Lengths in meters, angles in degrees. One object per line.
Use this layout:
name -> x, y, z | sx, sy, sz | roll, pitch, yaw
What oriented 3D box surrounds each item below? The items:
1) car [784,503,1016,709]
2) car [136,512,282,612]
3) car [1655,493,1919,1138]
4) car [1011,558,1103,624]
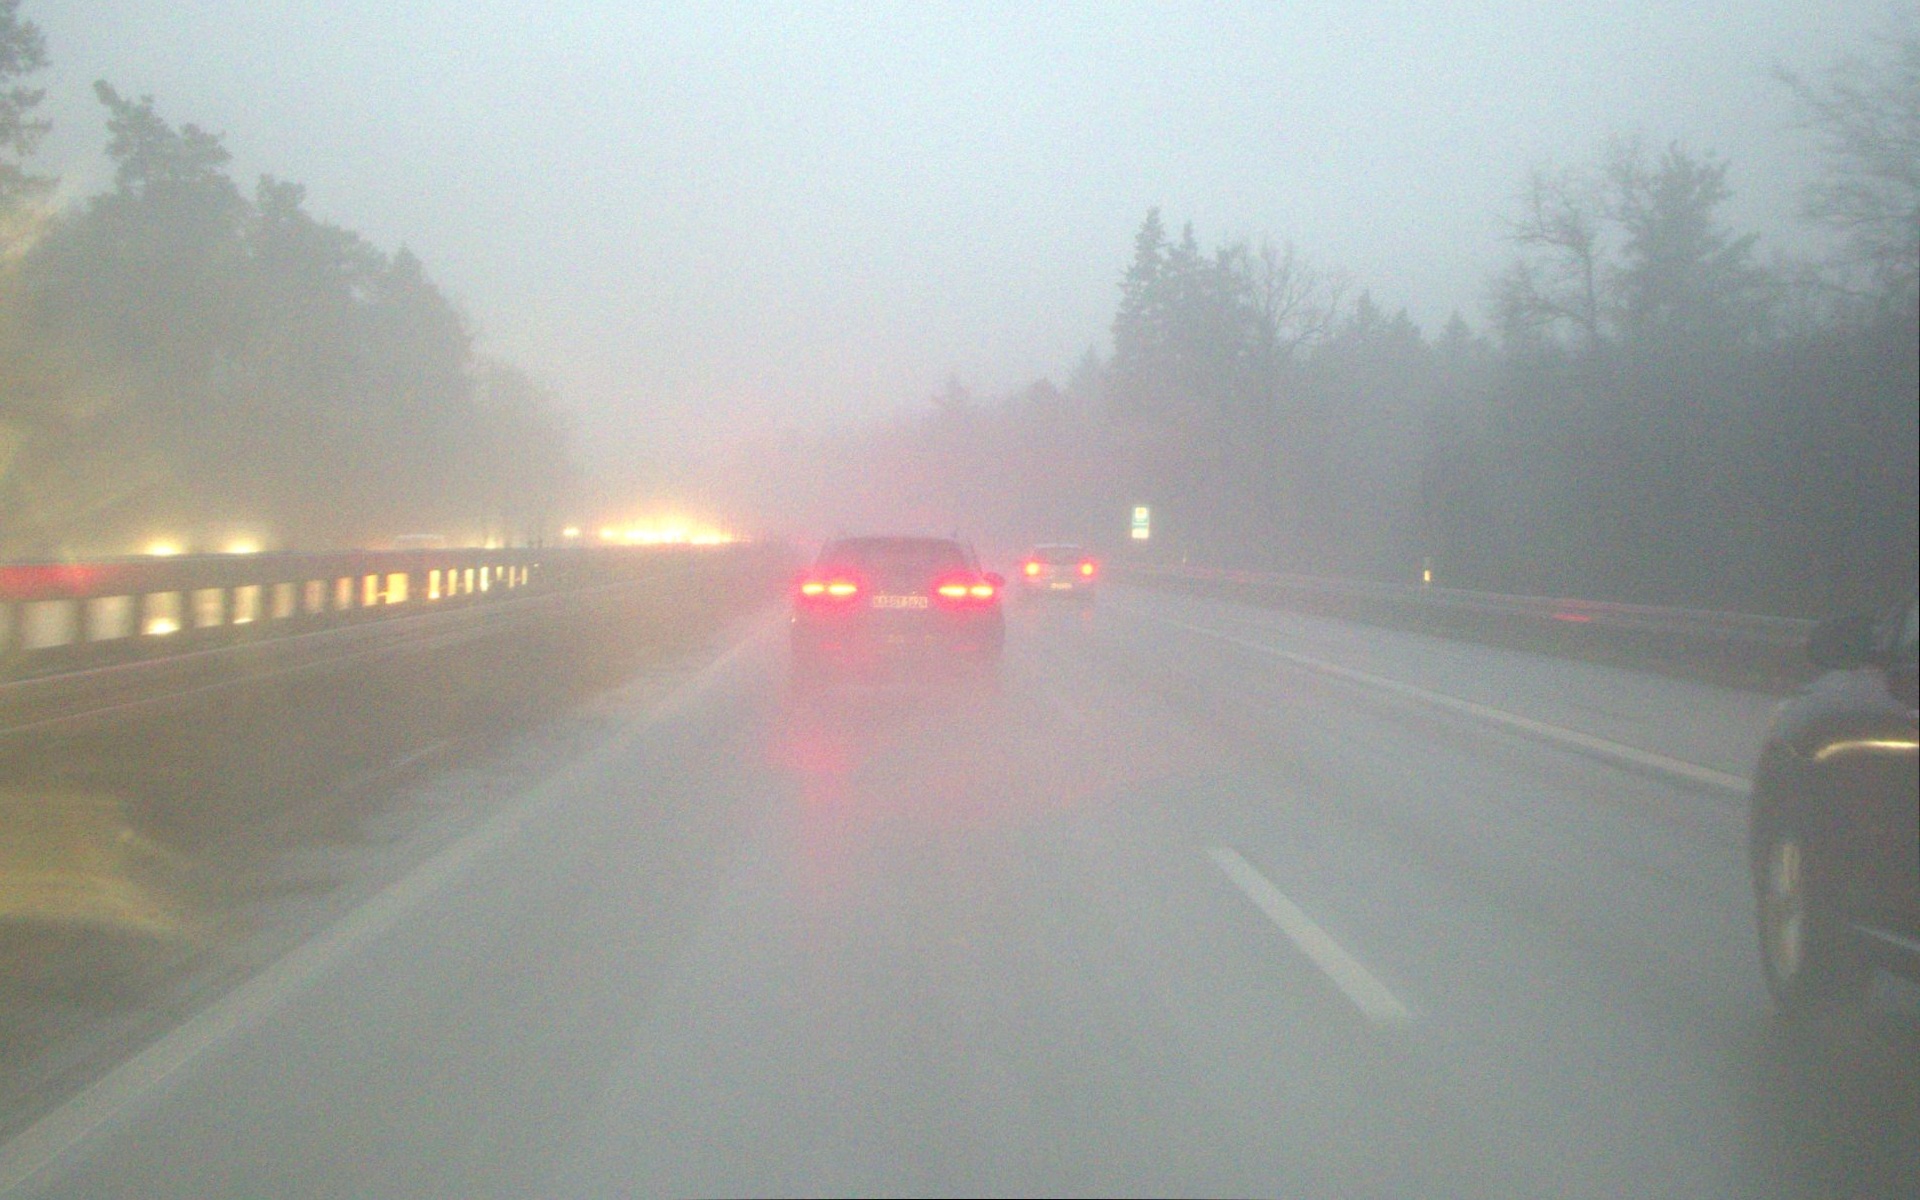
car -> -0.572, 0.021, 31.560 | 1.986, 1.761, 4.174 | 0, 1, -1
car -> -13.248, -0.683, 60.825 | 1.812, 1.685, 4.000 | 1, 1, -2
car -> 3.549, 0.559, 10.010 | 2.070, 1.692, 4.461 | 1, 1, -1
car -> 2.203, -0.221, 78.884 | 1.780, 1.432, 3.538 | 1, 1, -4
